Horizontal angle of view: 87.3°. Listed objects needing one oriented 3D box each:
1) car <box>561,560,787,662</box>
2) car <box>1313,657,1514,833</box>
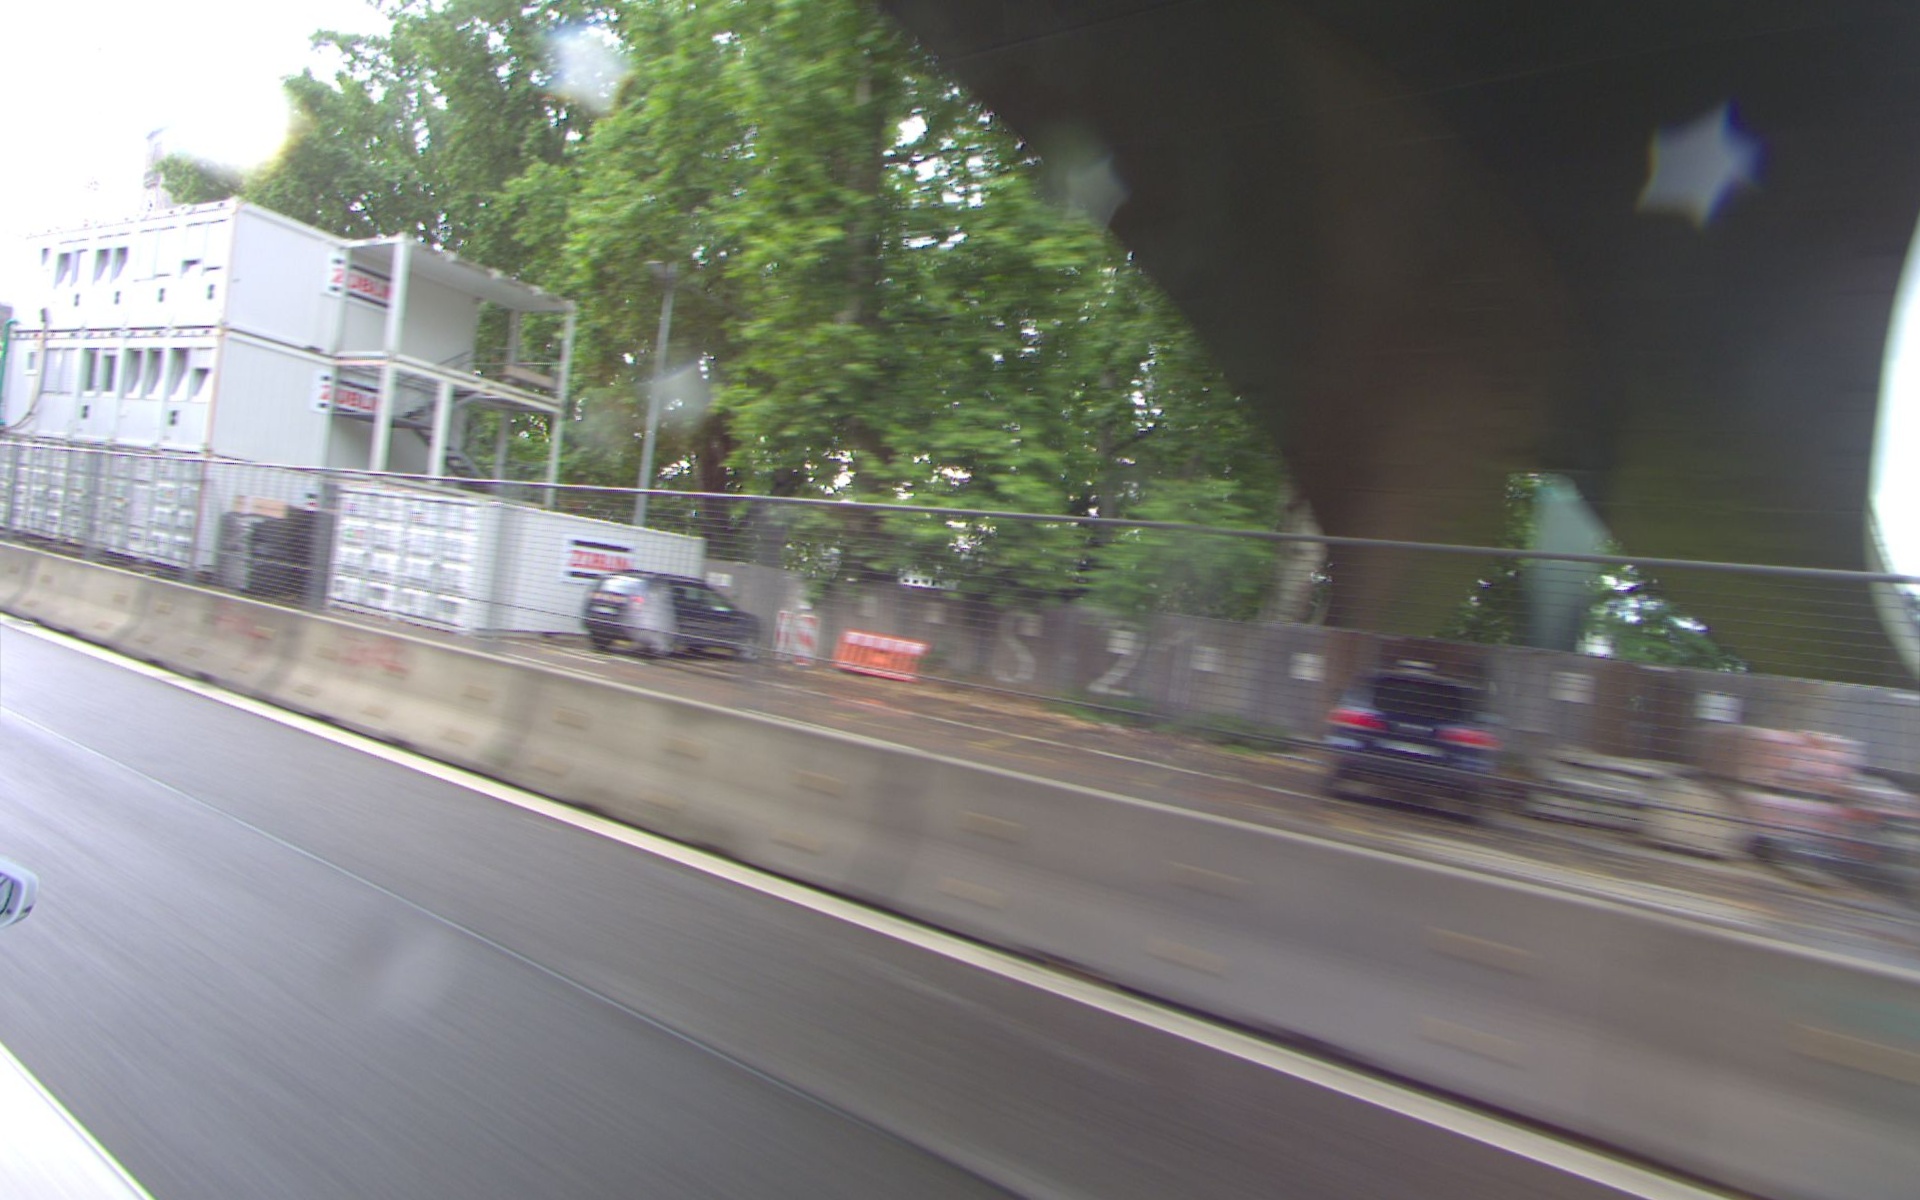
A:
[{"bbox_3d":[-5.847,0.316,21.187,1.757,1.648,4.552,8,0,28],"label":"car"},{"bbox_3d":[6.236,1.832,13.850,1.964,1.749,4.511,7,-1,25],"label":"car"}]
